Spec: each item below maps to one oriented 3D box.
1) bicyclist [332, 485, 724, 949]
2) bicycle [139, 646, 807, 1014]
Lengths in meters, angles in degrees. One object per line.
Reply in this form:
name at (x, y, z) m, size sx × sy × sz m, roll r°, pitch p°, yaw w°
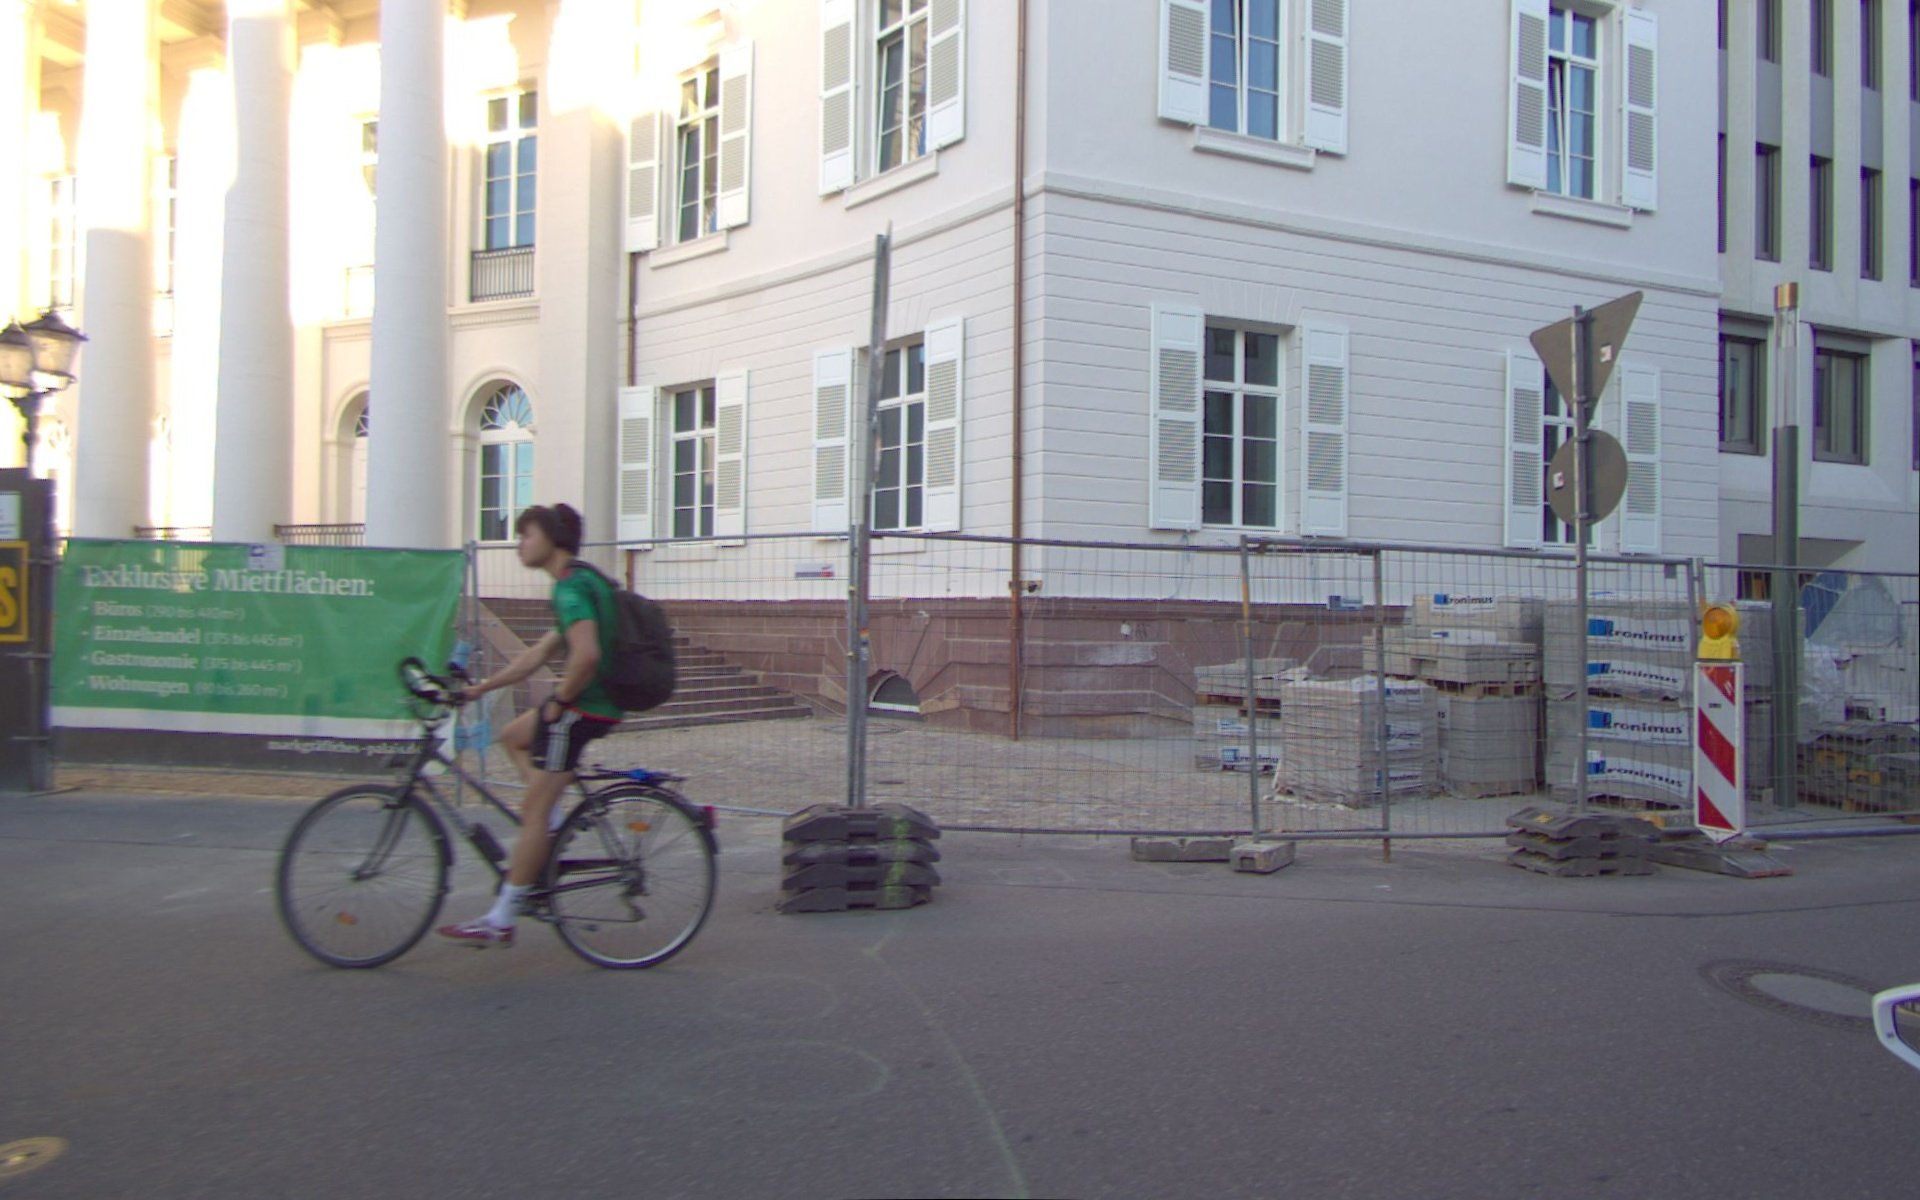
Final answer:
bicyclist at (-1.617, 0.422, 3.973) m, size 1.207 × 1.624 × 0.798 m, roll 1°, pitch -1°, yaw -6°
bicycle at (-1.736, 0.815, 3.935) m, size 2.191 × 1.233 × 0.798 m, roll 1°, pitch -1°, yaw -6°
